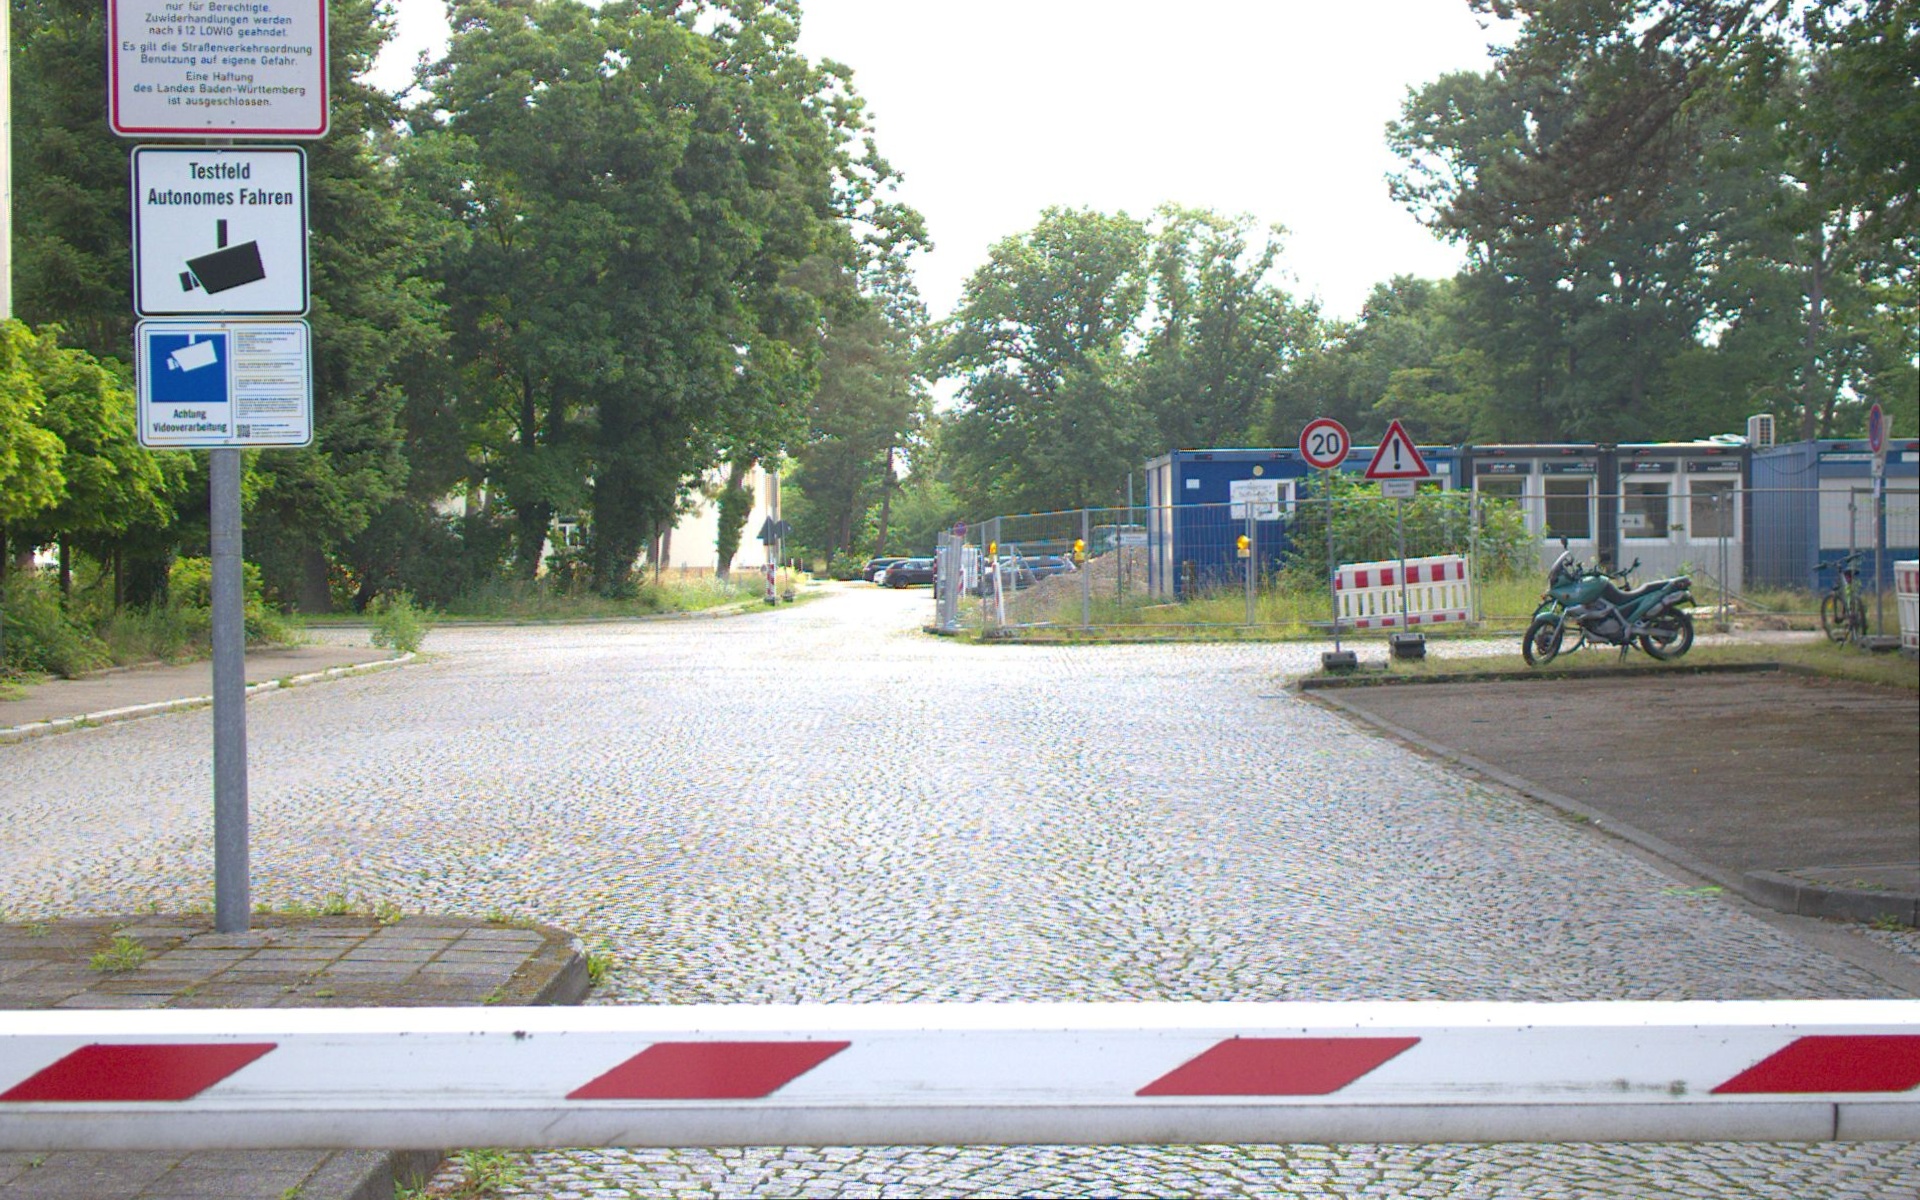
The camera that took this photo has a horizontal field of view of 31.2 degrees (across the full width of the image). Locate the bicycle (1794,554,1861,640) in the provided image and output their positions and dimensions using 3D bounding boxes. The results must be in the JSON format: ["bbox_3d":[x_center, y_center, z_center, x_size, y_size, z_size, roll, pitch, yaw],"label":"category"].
[{"bbox_3d":[10.509,-0.029,41.674,0.332,1.004,1.726,-1,-1,-1],"label":"bicycle"}]

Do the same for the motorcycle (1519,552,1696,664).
[{"bbox_3d":[7.556,0.093,40.136,1.956,1.191,0.461,-2,6,-1],"label":"motorcycle"}]
